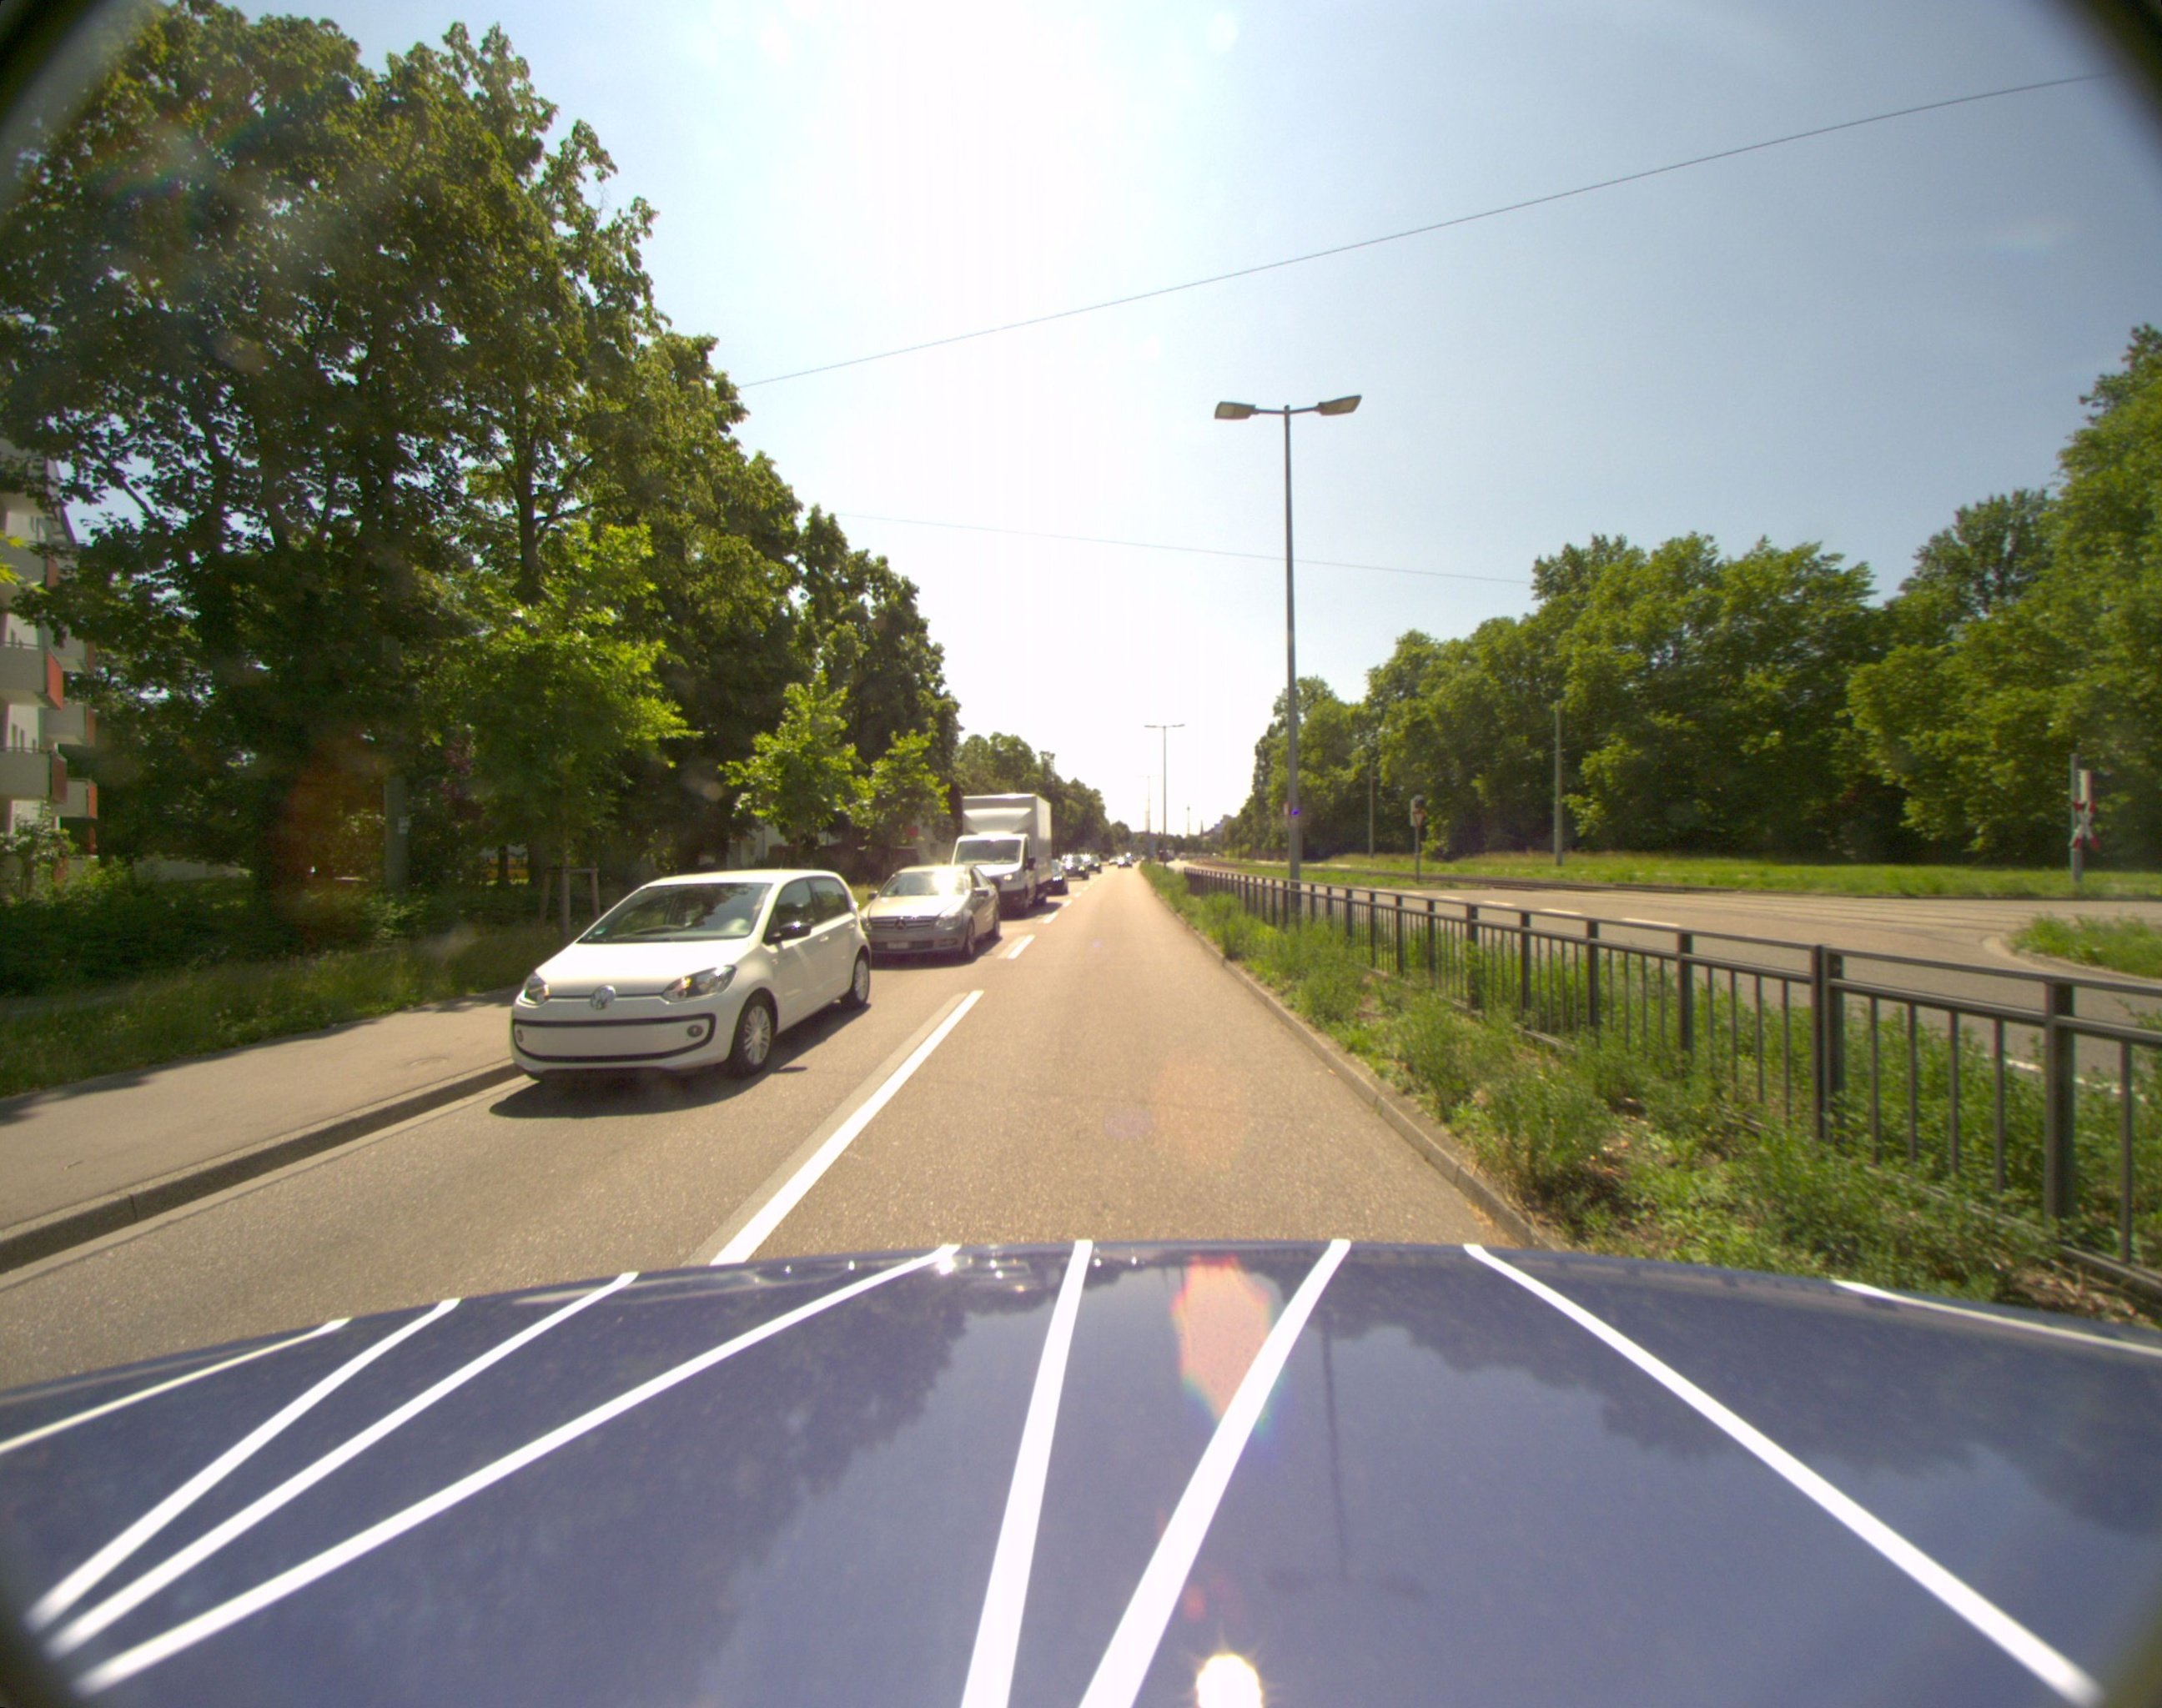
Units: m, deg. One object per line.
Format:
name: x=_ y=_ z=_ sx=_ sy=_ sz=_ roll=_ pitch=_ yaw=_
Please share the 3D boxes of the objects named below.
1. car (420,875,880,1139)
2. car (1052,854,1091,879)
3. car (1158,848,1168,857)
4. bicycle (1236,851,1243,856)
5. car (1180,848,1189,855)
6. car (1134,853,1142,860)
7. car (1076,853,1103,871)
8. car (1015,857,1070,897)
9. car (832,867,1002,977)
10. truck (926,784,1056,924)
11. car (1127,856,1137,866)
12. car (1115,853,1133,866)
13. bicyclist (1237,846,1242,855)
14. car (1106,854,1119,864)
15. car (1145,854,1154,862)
car: x=-3.126 y=0.985 z=6.516 sx=1.730 sy=1.470 sz=3.771 roll=-1 pitch=0 yaw=1
car: x=-0.558 y=0.772 z=49.507 sx=1.997 sy=1.499 sz=4.002 roll=-1 pitch=0 yaw=7
car: x=16.584 y=-0.266 z=153.909 sx=1.997 sy=1.847 sz=4.002 roll=-1 pitch=0 yaw=7
bicycle: x=33.837 y=-0.087 z=162.378 sx=0.862 sy=1.155 sz=2.787 roll=-1 pitch=0 yaw=1
car: x=27.361 y=-0.577 z=200.848 sx=1.998 sy=1.847 sz=4.001 roll=-1 pitch=0 yaw=5
car: x=15.657 y=0.735 z=209.066 sx=1.998 sy=1.847 sz=4.001 roll=-1 pitch=0 yaw=5
car: x=0.779 y=0.726 z=67.965 sx=1.997 sy=1.499 sz=4.002 roll=-1 pitch=0 yaw=7
car: x=-1.505 y=0.909 z=31.451 sx=1.998 sy=1.499 sz=4.000 roll=-1 pitch=0 yaw=1
car: x=-2.474 y=0.982 z=12.538 sx=1.840 sy=1.400 sz=4.087 roll=-1 pitch=0 yaw=1
truck: x=-2.298 y=-0.013 z=22.276 sx=2.433 sy=3.326 sz=7.923 roll=-1 pitch=0 yaw=3
car: x=10.791 y=1.456 z=159.940 sx=1.998 sy=1.847 sz=4.001 roll=-1 pitch=0 yaw=5
car: x=5.315 y=0.697 z=93.465 sx=1.997 sy=1.499 sz=4.002 roll=-1 pitch=0 yaw=7
bicyclist: x=33.851 y=-0.712 z=162.314 sx=0.862 sy=1.796 sz=1.118 roll=-1 pitch=1 yaw=1
car: x=5.246 y=0.800 z=126.418 sx=1.951 sy=1.499 sz=4.002 roll=-1 pitch=0 yaw=7
car: x=16.443 y=0.998 z=182.953 sx=1.998 sy=1.847 sz=4.001 roll=-1 pitch=0 yaw=5
